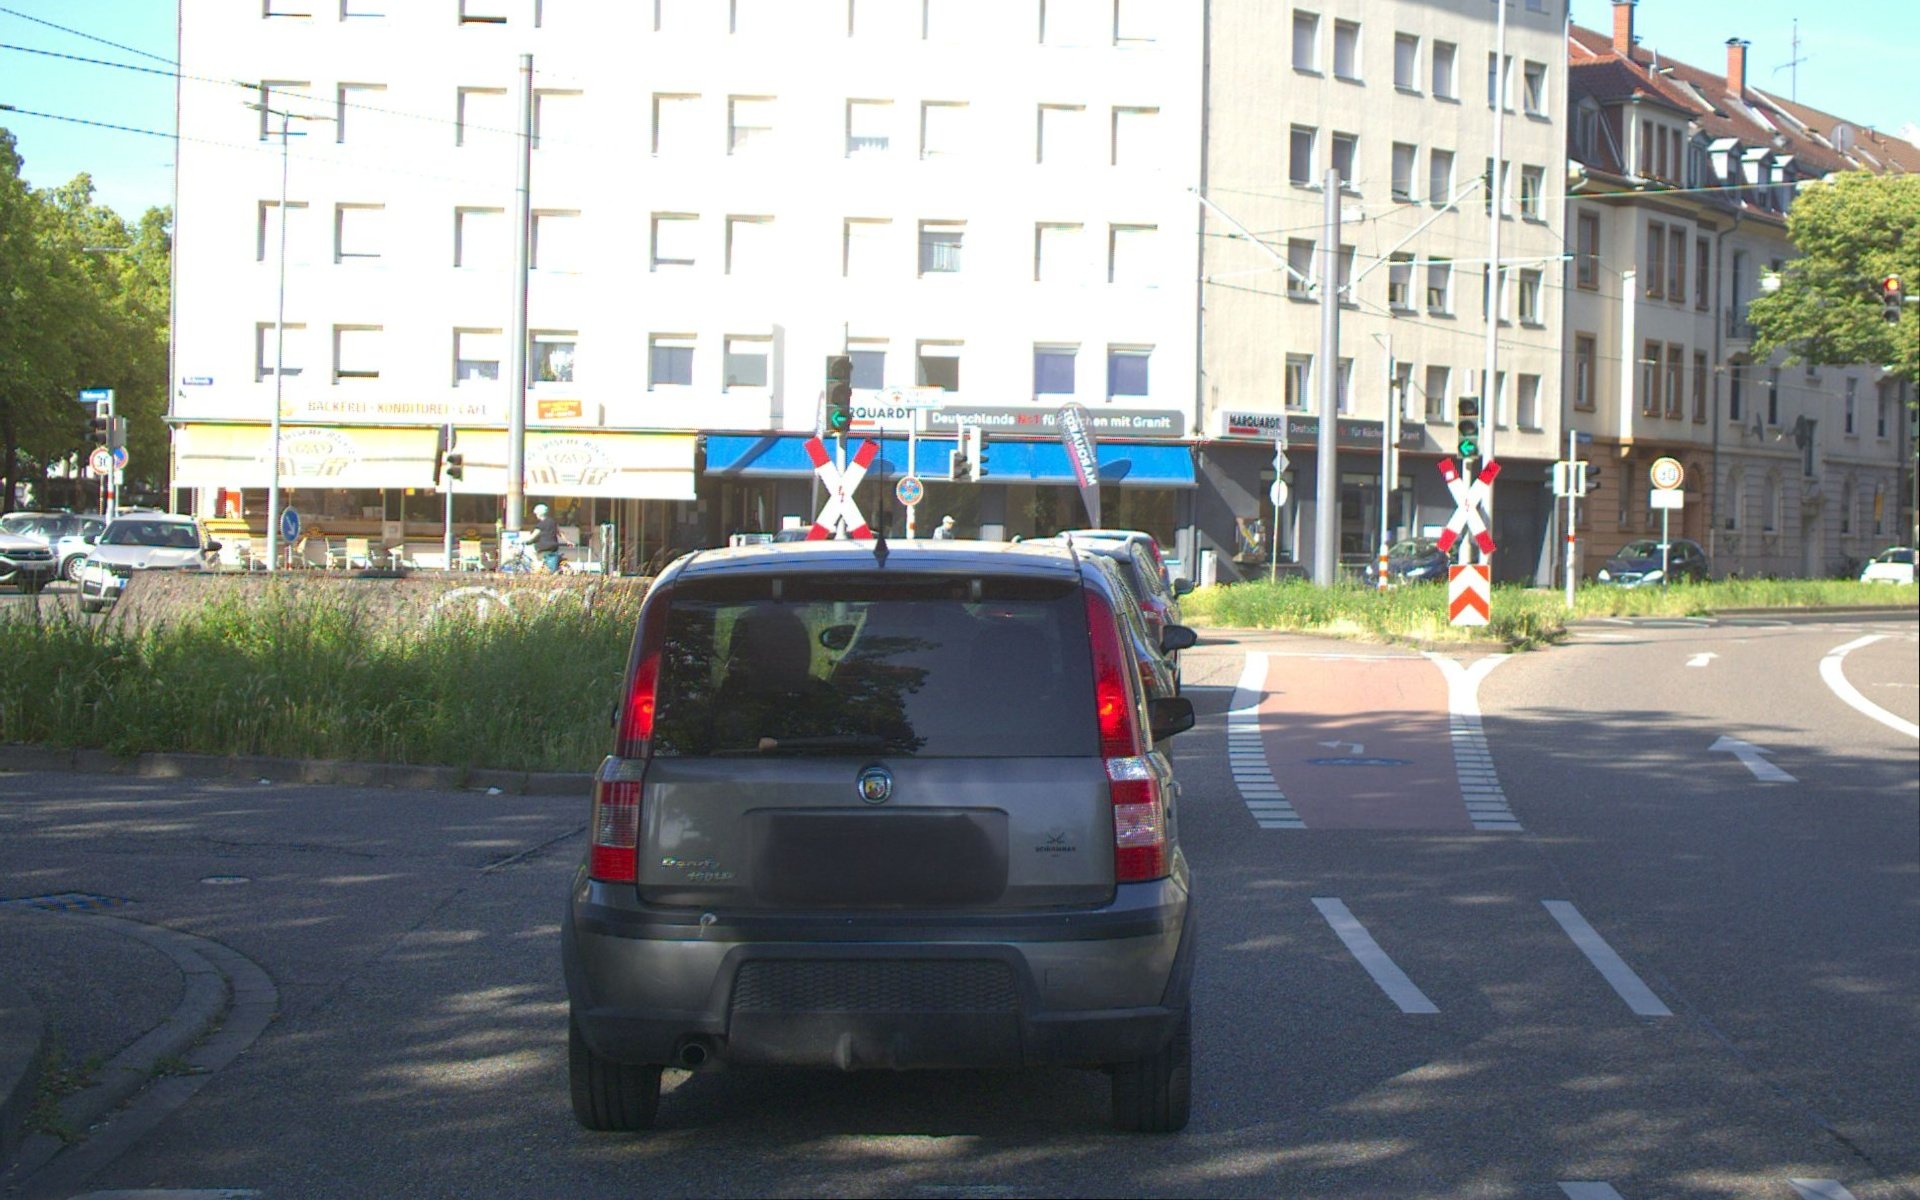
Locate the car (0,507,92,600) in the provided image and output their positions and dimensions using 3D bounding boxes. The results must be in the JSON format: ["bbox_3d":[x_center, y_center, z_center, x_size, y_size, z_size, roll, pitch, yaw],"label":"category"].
[{"bbox_3d":[-17.444,-0.853,60.181,3.992,1.567,1.997,2,1,25],"label":"car"}]

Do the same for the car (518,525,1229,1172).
[{"bbox_3d":[-0.219,0.558,9.810,1.660,1.505,3.252,1,1,0],"label":"car"}]

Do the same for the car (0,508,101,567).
[{"bbox_3d":[-21.414,-1.457,79.968,1.993,1.305,4.001,1,1,-2],"label":"car"}]

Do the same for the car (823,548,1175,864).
[{"bbox_3d":[0.131,0.473,17.992,1.621,1.424,3.689,1,1,-2],"label":"car"}]

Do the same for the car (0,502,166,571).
[{"bbox_3d":[-17.760,-1.253,67.060,3.988,1.238,2.000,2,1,5],"label":"car"}]

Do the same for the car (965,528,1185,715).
[{"bbox_3d":[1.072,0.128,30.176,1.760,1.481,4.293,1,1,4],"label":"car"}]

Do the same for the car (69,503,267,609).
[{"bbox_3d":[-11.628,-0.662,50.752,1.663,1.443,4.402,2,1,3],"label":"car"}]

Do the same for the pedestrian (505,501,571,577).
[{"bbox_3d":[-8.107,-1.170,66.027,0.937,1.423,0.774,3,0,39],"label":"pedestrian"}]

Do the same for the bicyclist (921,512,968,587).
[{"bbox_3d":[-0.324,-1.060,71.974,0.822,1.553,0.561,2,1,22],"label":"bicyclist"}]

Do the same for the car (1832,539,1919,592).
[{"bbox_3d":[26.908,-0.998,100.208,1.794,1.477,3.525,2,1,33],"label":"car"}]

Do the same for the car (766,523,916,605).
[{"bbox_3d":[-1.975,-0.599,55.948,1.690,1.249,3.627,1,1,-14],"label":"car"}]

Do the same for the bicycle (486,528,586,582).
[{"bbox_3d":[-8.152,-0.862,66.056,1.854,0.948,0.783,3,0,39],"label":"bicycle"}]

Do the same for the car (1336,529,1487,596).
[{"bbox_3d":[9.850,-0.809,74.789,1.794,1.391,3.718,2,1,33],"label":"car"}]

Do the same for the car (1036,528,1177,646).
[{"bbox_3d":[1.878,-0.199,44.866,1.646,1.433,3.396,1,1,0],"label":"car"}]

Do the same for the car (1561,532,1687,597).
[{"bbox_3d":[16.790,-0.901,86.777,1.794,1.560,3.759,2,1,33],"label":"car"}]
